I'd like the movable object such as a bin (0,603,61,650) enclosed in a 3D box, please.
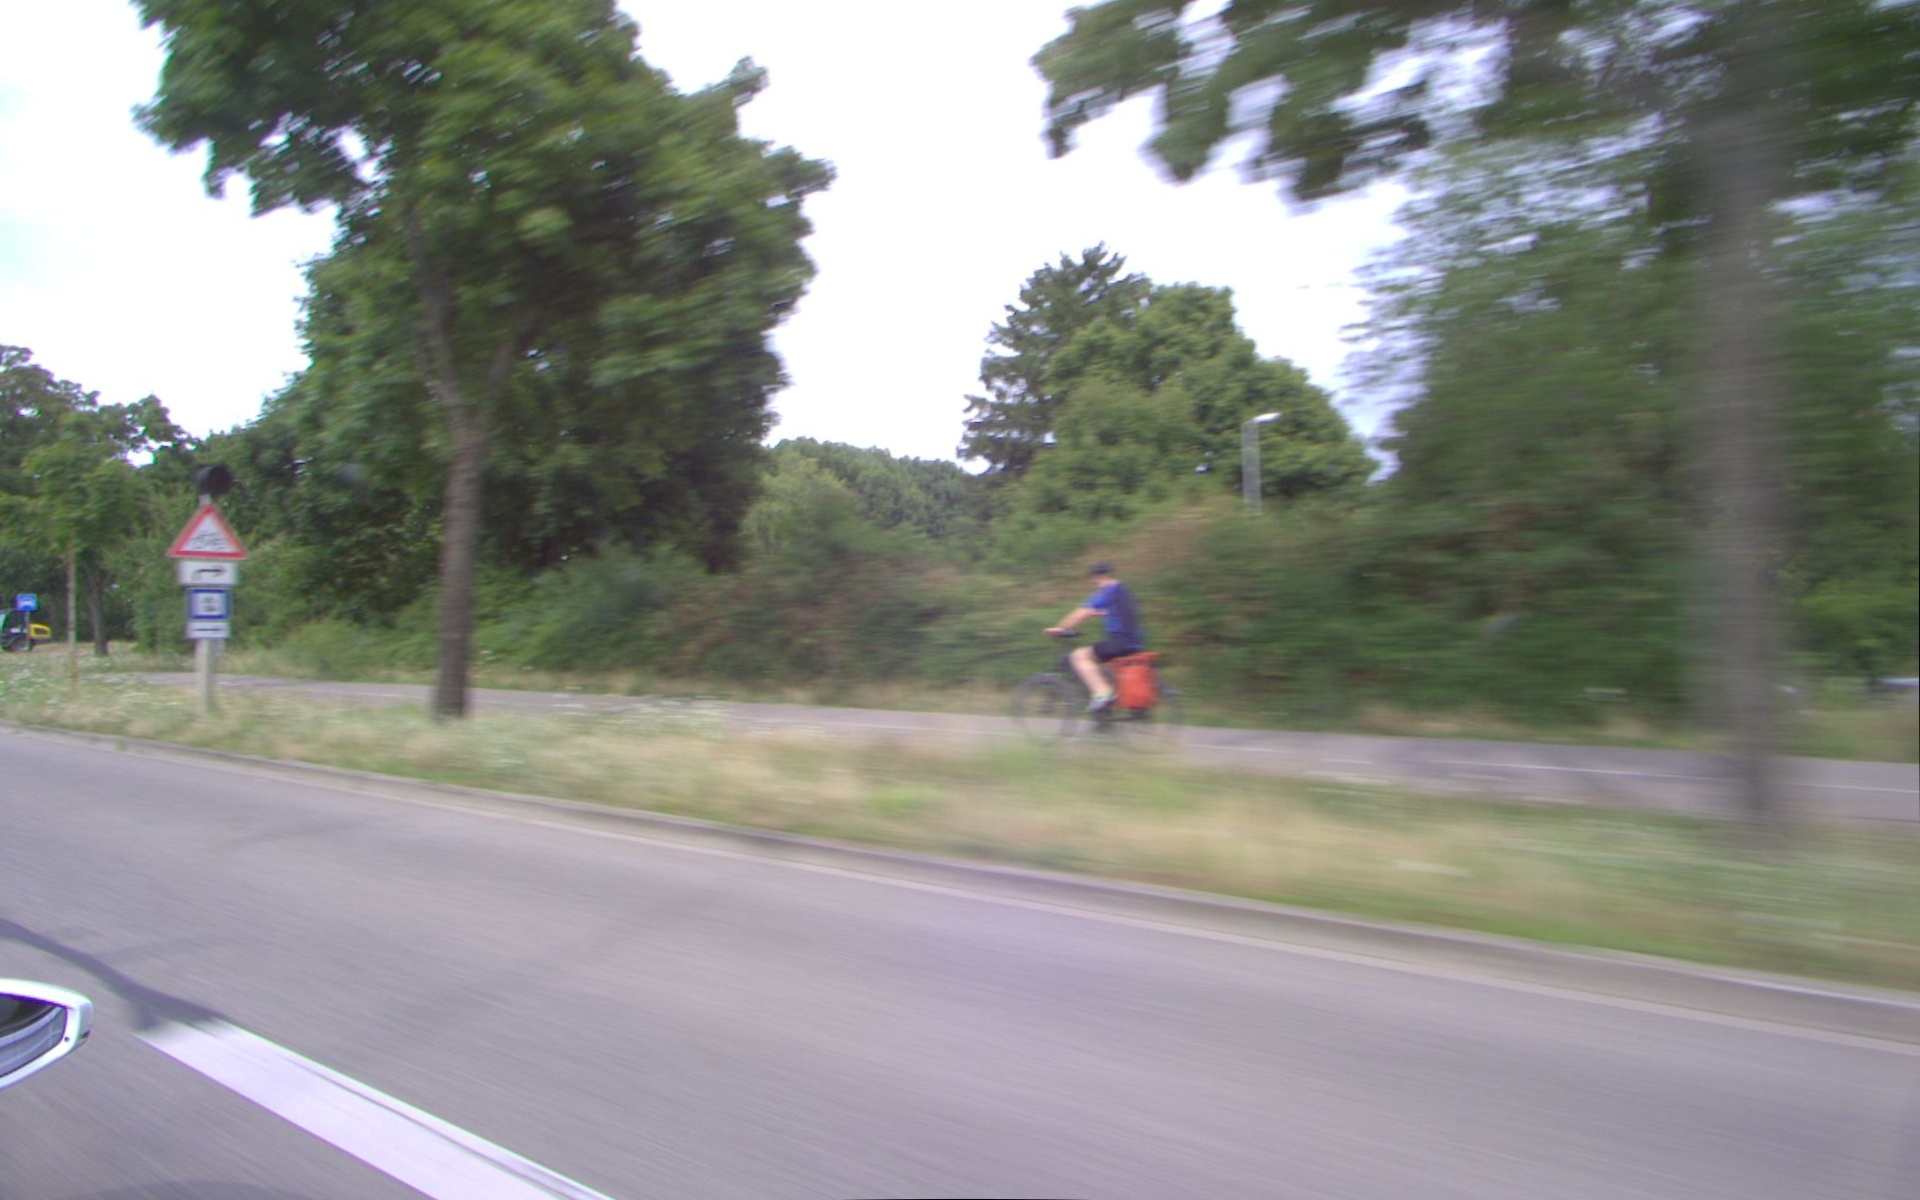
[{"bbox_3d":[-56.691,1.601,59.628,2.077,2.723,4.484,-2,-2,39],"label":"movable object such as a bin"}]

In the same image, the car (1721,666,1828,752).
[{"bbox_3d":[17.601,2.274,21.656,1.669,1.397,3.732,-1,0,40],"label":"car"}]

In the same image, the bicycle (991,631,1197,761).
[{"bbox_3d":[1.303,0.905,9.939,1.953,1.163,0.572,-1,1,32],"label":"bicycle"}]

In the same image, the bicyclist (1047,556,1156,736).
[{"bbox_3d":[1.398,0.451,9.885,0.864,1.679,0.651,-2,-2,32],"label":"bicyclist"}]
